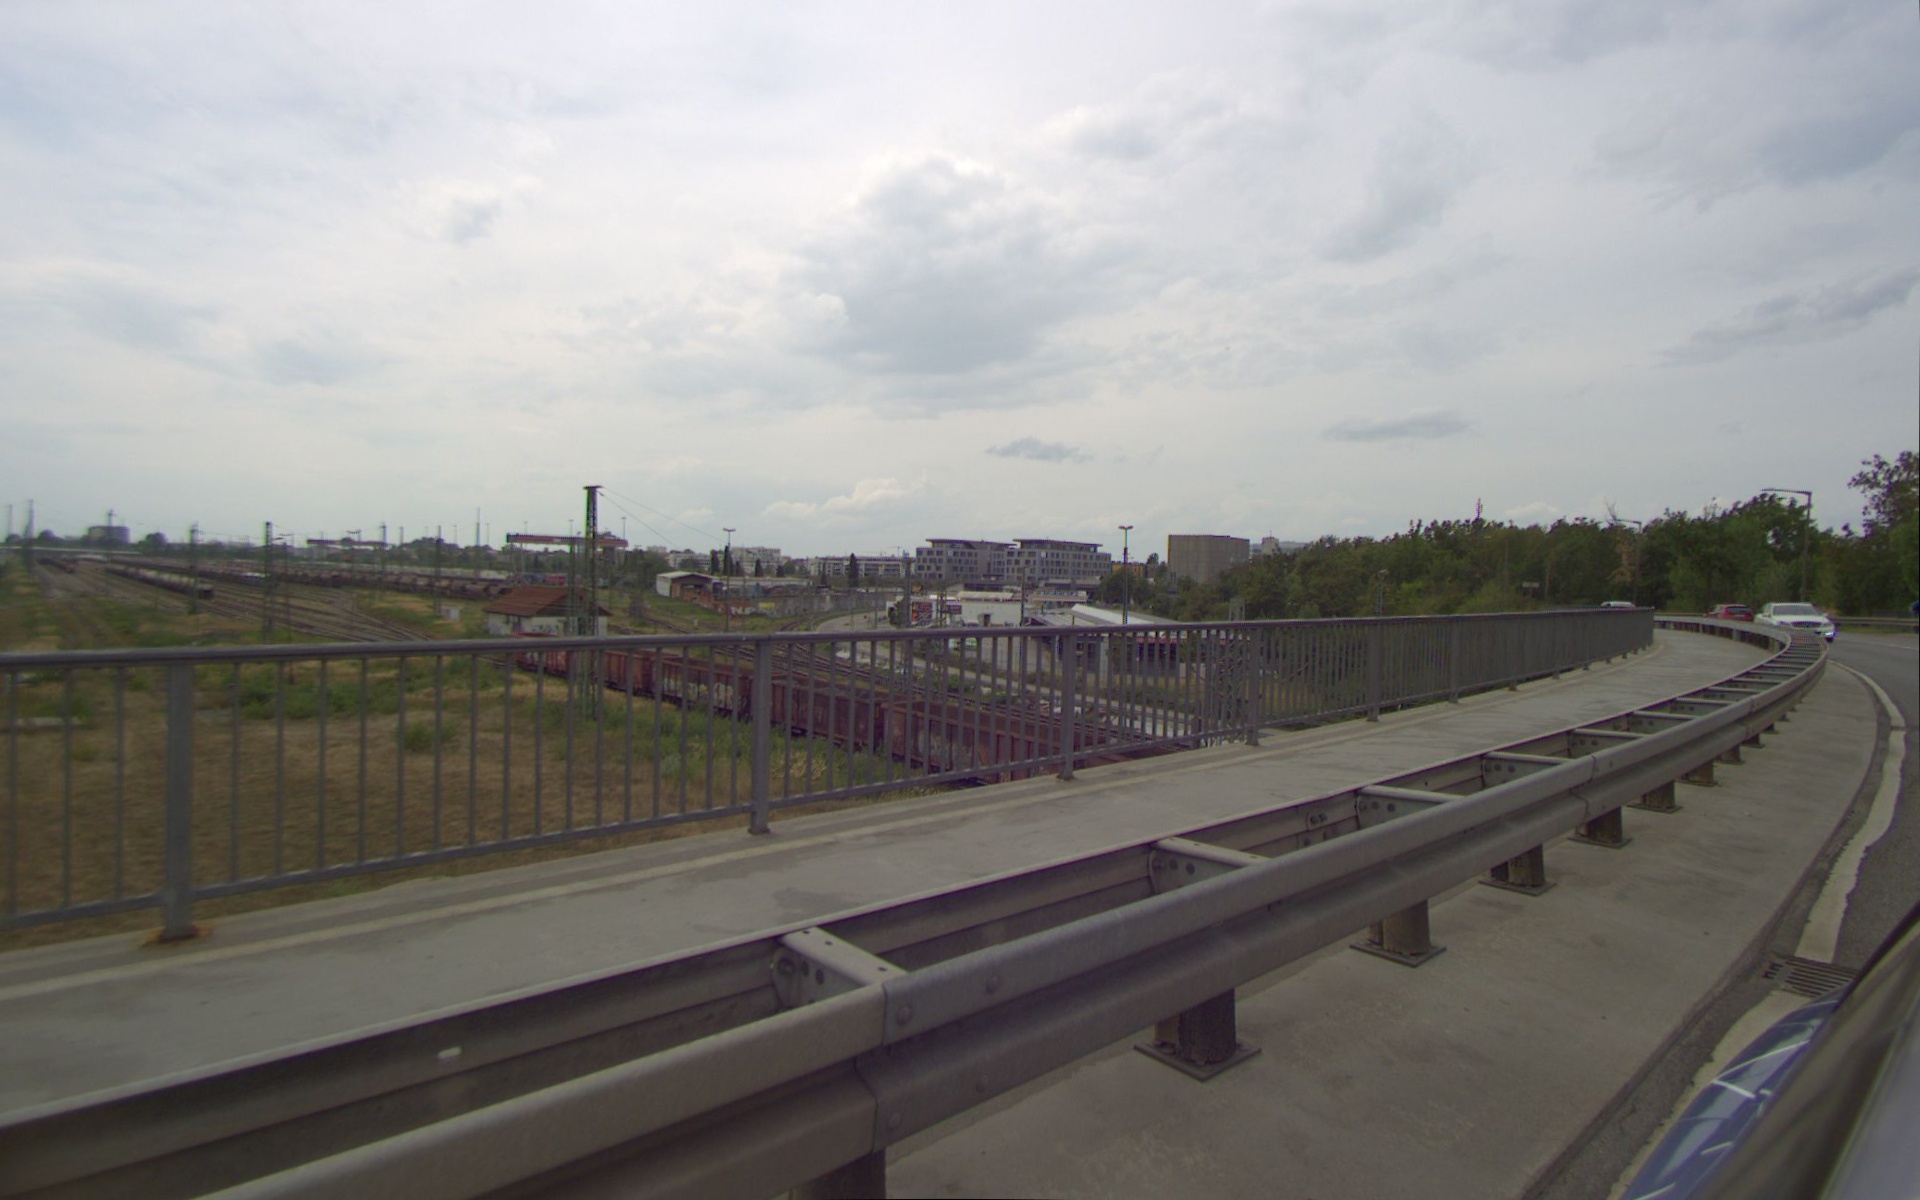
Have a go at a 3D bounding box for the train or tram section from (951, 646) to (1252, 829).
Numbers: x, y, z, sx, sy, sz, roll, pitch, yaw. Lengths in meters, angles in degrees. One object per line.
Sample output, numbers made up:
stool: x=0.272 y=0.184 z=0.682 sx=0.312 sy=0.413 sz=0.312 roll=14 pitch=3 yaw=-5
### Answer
train or tram section: x=5.155 y=5.055 z=41.509 sx=3.586 sy=5.644 sz=13.641 roll=0 pitch=0 yaw=-38

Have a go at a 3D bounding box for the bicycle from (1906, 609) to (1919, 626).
bicycle: x=46.408 y=0.844 z=48.586 sx=0.685 sy=0.808 sz=1.881 roll=0 pitch=-1 yaw=18

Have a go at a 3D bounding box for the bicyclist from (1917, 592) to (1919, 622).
bicyclist: x=46.297 y=0.339 z=48.268 sx=0.704 sy=1.463 sz=0.743 roll=0 pitch=-1 yaw=19

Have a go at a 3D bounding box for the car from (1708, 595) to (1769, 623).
car: x=44.965 y=0.483 z=58.553 sx=1.744 sy=1.511 sz=3.972 roll=0 pitch=0 yaw=21

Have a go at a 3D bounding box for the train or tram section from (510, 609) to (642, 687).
train or tram section: x=-33.131 y=3.786 z=86.333 sx=3.894 sy=5.714 sz=18.232 roll=0 pitch=0 yaw=-43

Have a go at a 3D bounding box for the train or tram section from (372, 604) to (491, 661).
train or tram section: x=-59.473 y=3.347 z=113.033 sx=25.609 sy=5.549 sz=3.930 roll=0 pitch=0 yaw=44

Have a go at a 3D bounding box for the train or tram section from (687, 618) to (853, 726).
train or tram section: x=-12.225 y=4.143 z=63.404 sx=3.777 sy=5.749 sz=13.887 roll=0 pitch=0 yaw=-41

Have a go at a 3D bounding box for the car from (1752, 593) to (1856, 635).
car: x=31.715 y=0.561 z=38.155 sx=1.917 sy=1.476 sz=3.854 roll=-1 pitch=-2 yaw=23

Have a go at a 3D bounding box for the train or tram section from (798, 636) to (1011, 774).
train or tram section: x=-3.358 y=4.979 z=52.536 sx=3.592 sy=5.669 sz=14.247 roll=0 pitch=0 yaw=-38

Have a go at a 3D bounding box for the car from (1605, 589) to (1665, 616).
car: x=45.280 y=0.216 z=67.991 sx=1.935 sy=1.726 sz=4.411 roll=0 pitch=-1 yaw=14

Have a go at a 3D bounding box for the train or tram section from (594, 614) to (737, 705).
train or tram section: x=-21.858 y=4.066 z=74.188 sx=3.910 sy=5.748 sz=14.984 roll=0 pitch=0 yaw=-42

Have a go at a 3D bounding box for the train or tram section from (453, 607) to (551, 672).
train or tram section: x=-44.776 y=3.588 z=98.546 sx=3.741 sy=5.695 sz=15.524 roll=0 pitch=0 yaw=-44
